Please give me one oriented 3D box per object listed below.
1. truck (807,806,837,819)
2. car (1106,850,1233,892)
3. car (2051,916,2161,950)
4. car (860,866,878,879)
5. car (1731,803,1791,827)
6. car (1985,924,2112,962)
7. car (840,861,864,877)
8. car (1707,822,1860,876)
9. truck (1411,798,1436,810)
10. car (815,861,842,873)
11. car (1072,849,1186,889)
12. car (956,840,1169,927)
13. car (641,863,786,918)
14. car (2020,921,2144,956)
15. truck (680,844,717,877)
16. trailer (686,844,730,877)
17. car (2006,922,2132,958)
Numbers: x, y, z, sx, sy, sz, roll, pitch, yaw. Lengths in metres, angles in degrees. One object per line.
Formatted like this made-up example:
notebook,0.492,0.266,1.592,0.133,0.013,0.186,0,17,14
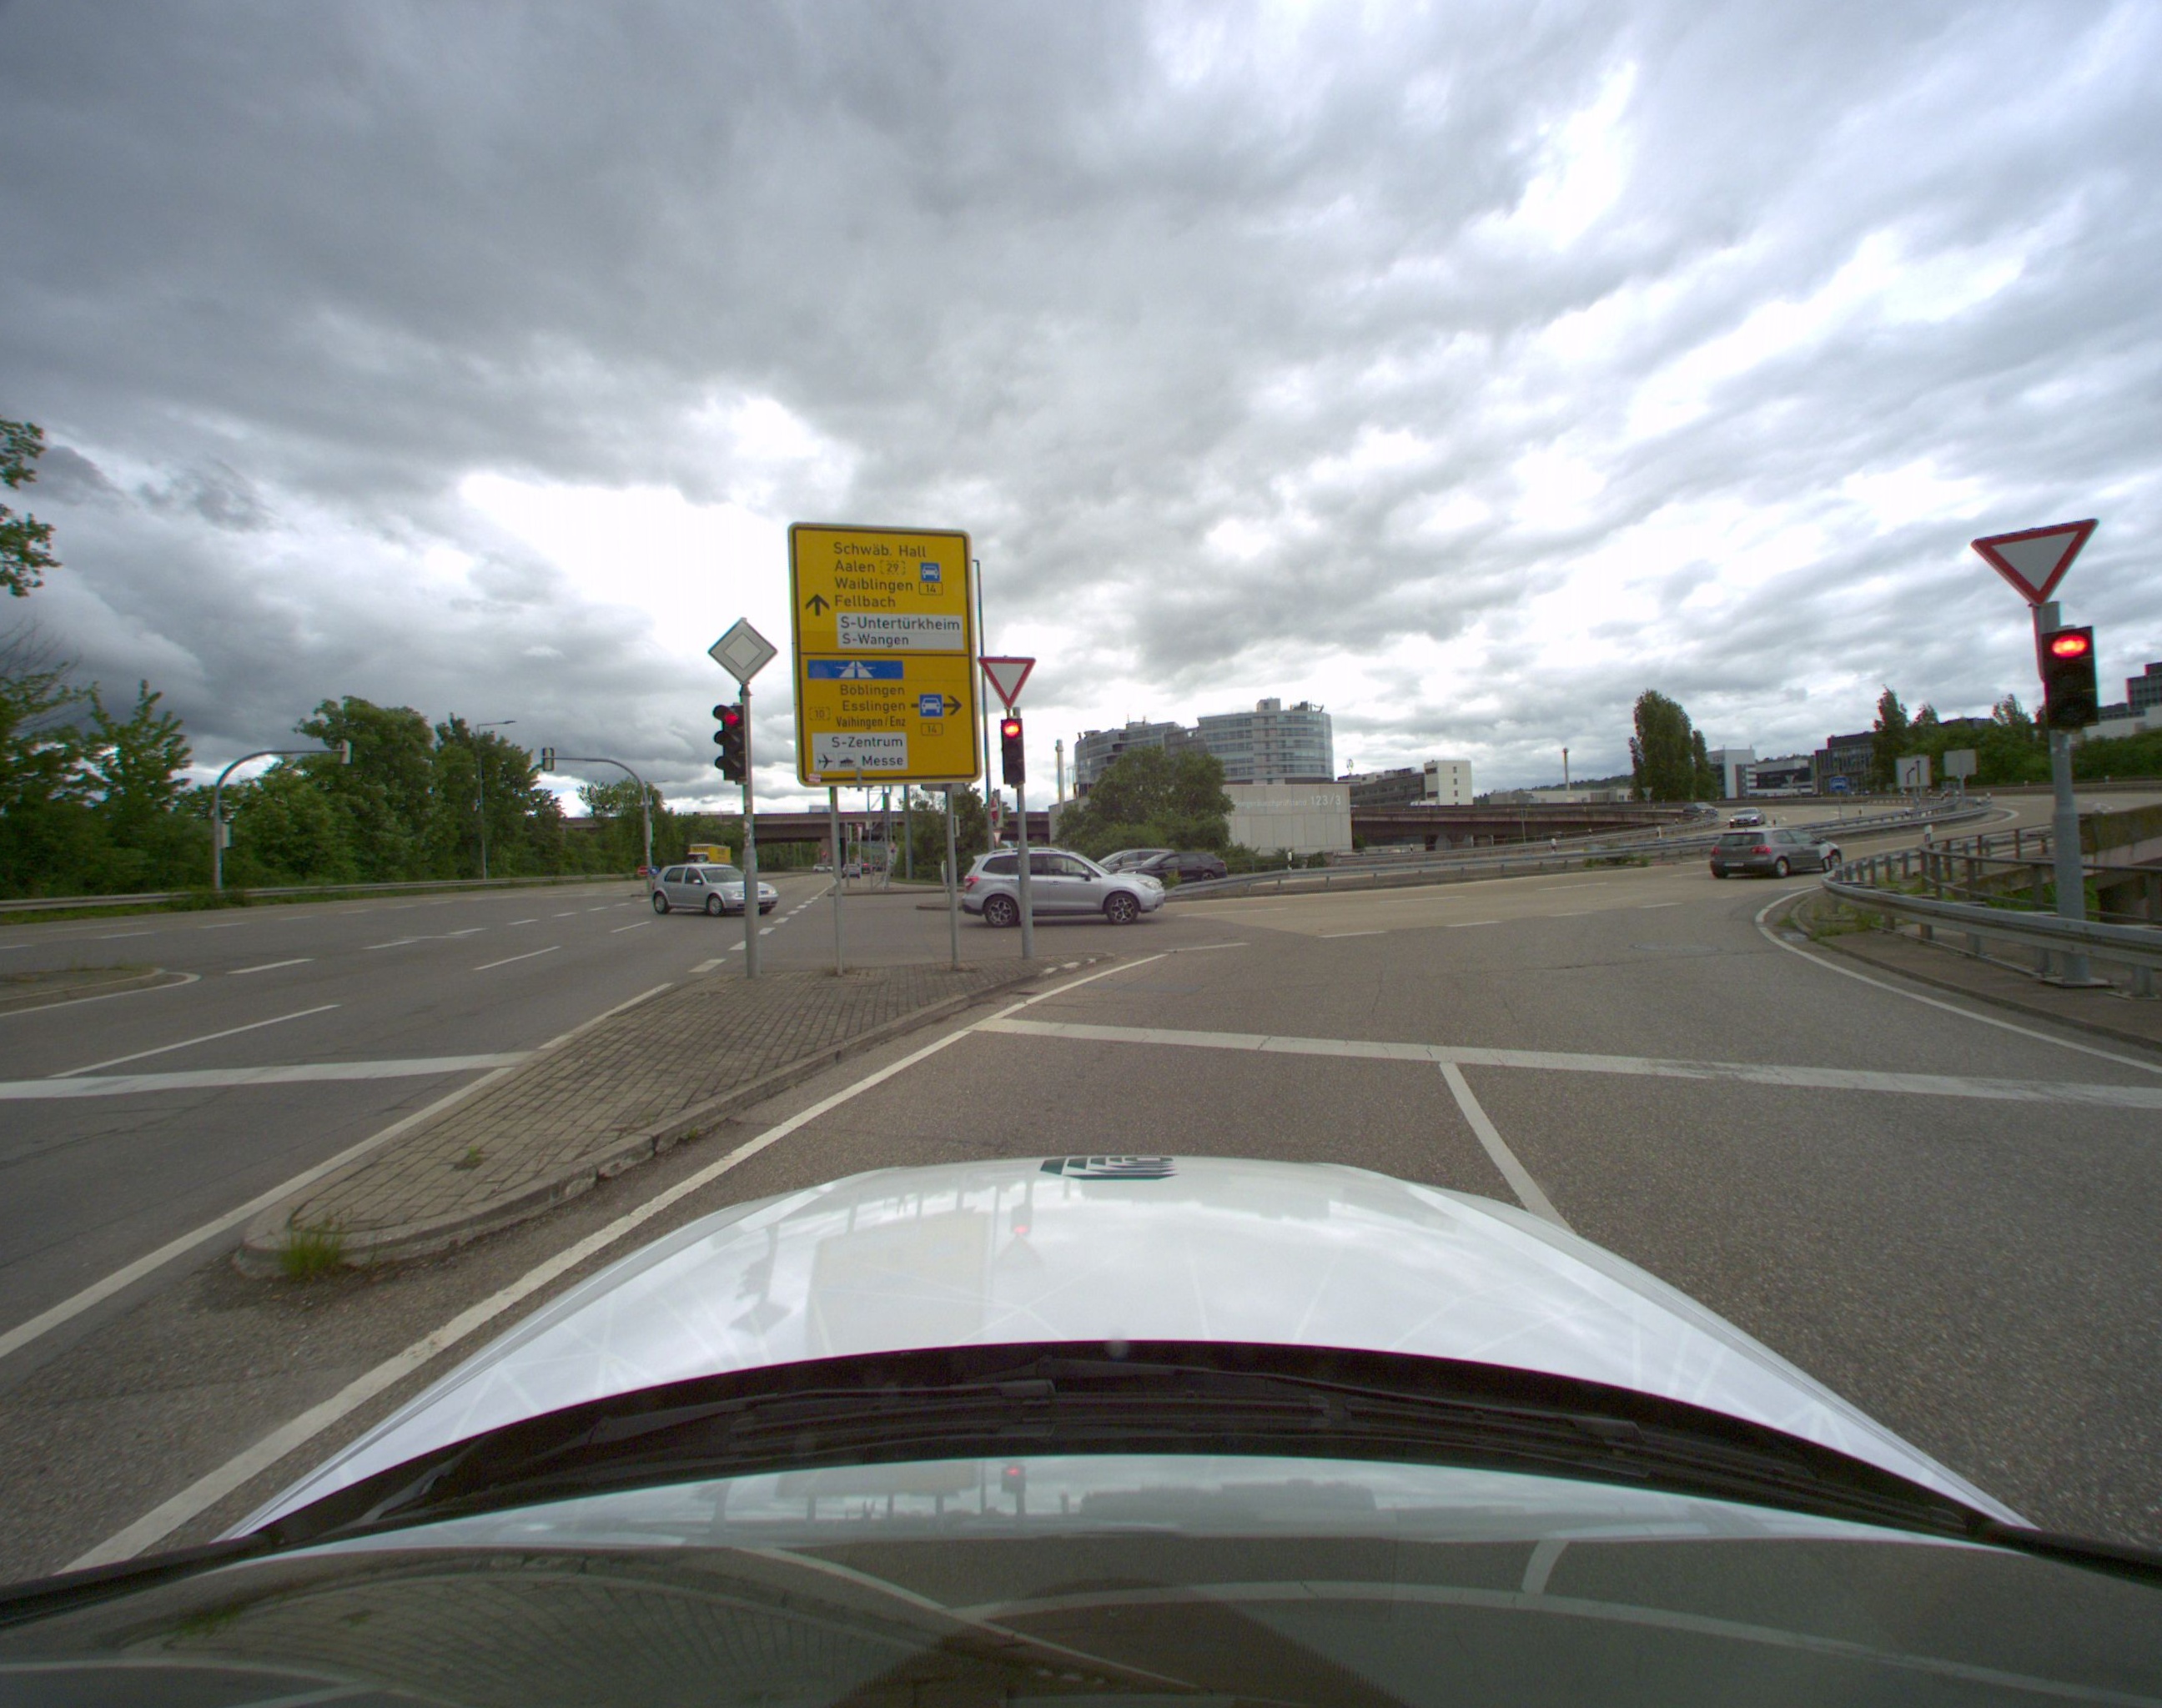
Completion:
truck,-48.344,-7.704,151.973,5.033,2.321,2.004,-1,0,7
car,3.511,0.638,32.263,4.621,1.457,1.943,-1,1,-20
car,54.994,4.179,43.497,1.832,1.354,3.827,-3,1,-29
car,-26.558,2.343,102.236,1.995,1.464,4.091,0,-2,-13
car,54.529,-3.077,65.294,4.755,1.662,1.899,2,0,-26
car,48.247,4.398,40.688,1.832,1.354,3.827,-3,1,-29
car,-22.612,1.521,80.598,1.995,1.442,4.093,-1,-2,-11
car,20.917,-0.139,24.246,4.248,1.461,1.717,-1,-1,-23
truck,73.672,-10.734,175.239,4.568,2.171,2.002,2,0,4
car,-44.960,2.304,144.889,3.964,1.860,2.005,2,0,8
car,2.111,0.629,36.029,4.689,1.571,1.945,-1,1,-17
car,-0.337,0.638,18.329,4.519,1.737,1.732,-2,0,5
car,-10.566,1.029,23.378,4.014,1.400,1.741,-2,0,30
car,52.298,4.386,42.613,1.832,1.354,3.827,-3,1,-29
truck,-48.930,0.818,104.398,2.874,4.084,6.460,1,0,-12
trailer,-50.080,0.827,109.690,2.874,4.084,11.378,1,0,-12
car,50.407,4.351,41.636,1.832,1.354,3.827,-3,1,-29
